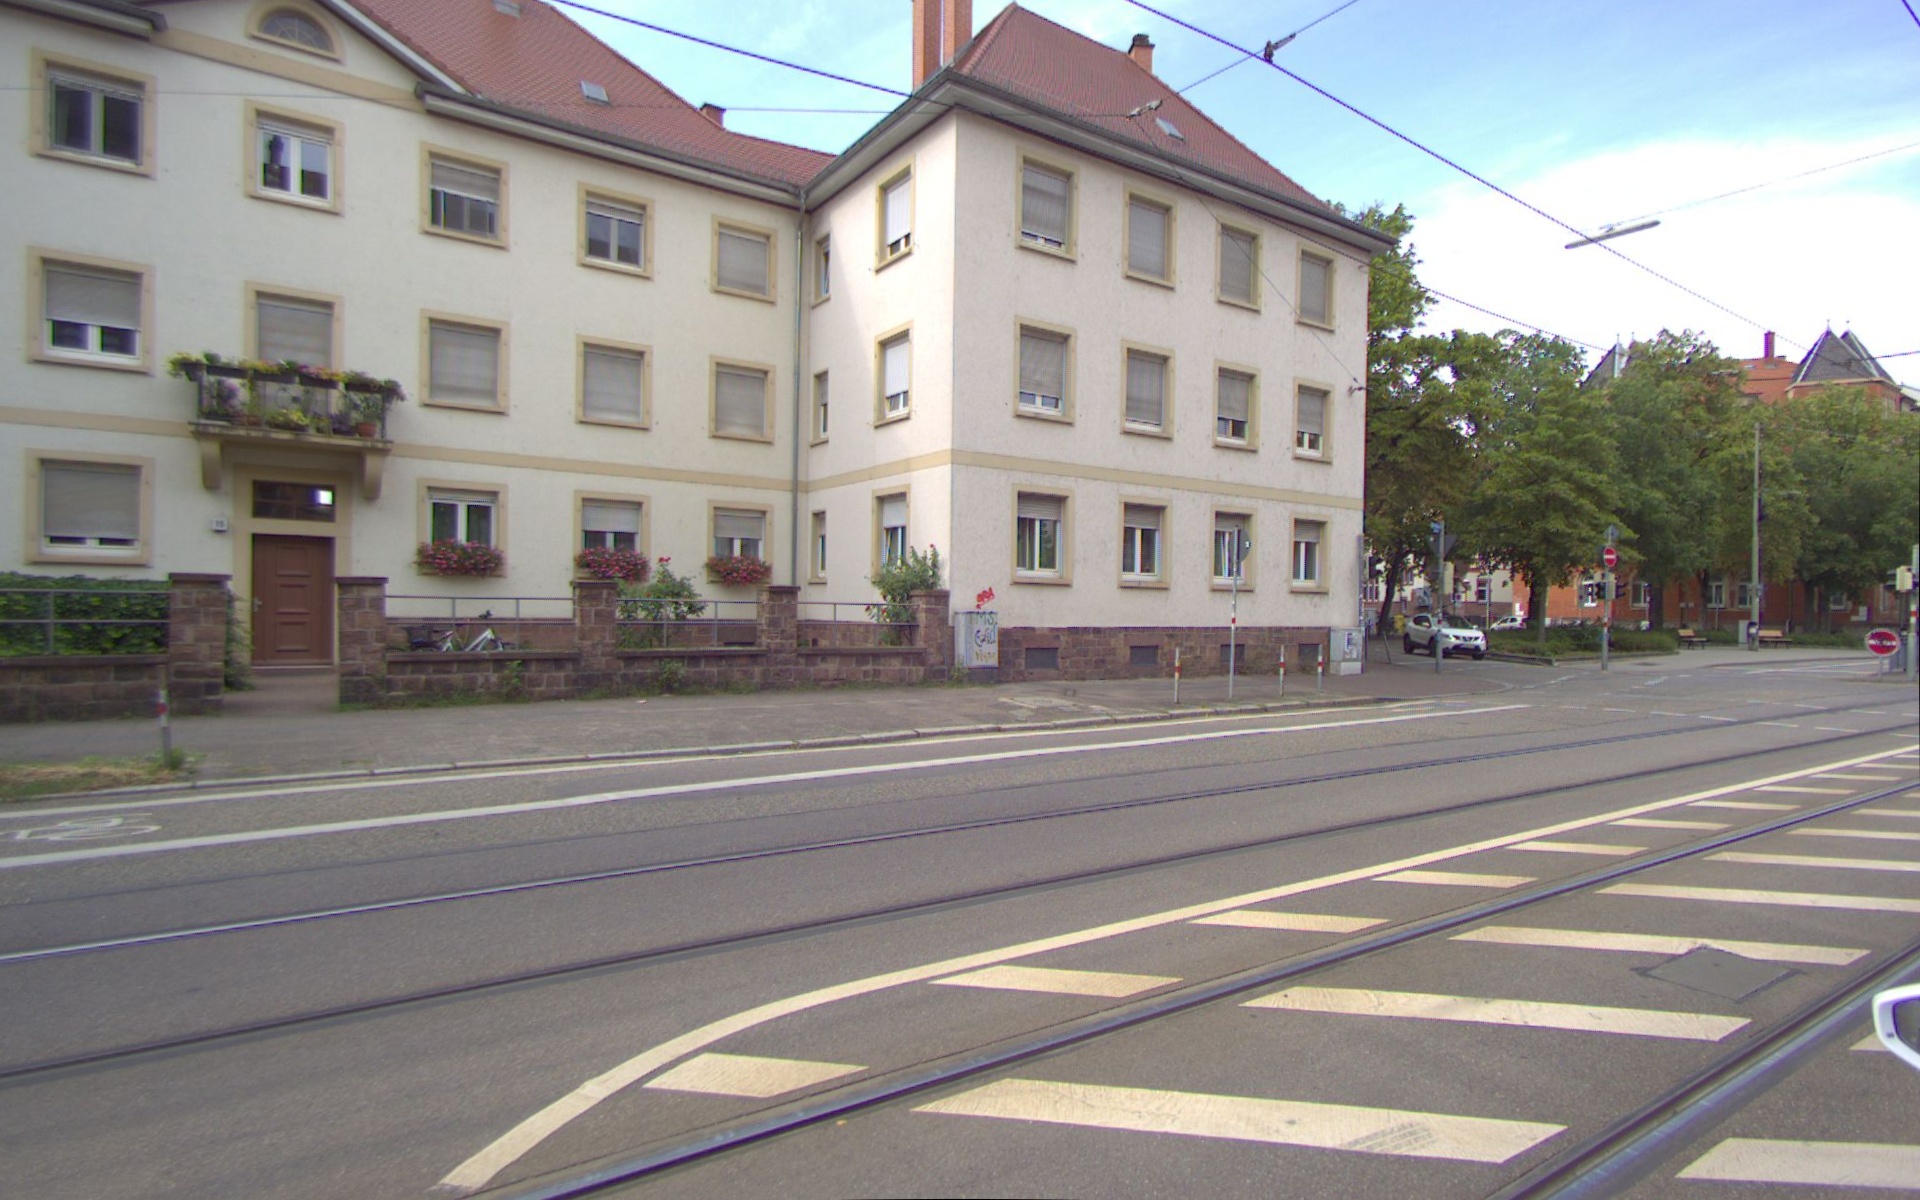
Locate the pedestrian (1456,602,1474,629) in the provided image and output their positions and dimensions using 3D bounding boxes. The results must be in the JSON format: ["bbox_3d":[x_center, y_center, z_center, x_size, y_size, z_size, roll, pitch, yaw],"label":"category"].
[{"bbox_3d":[33.200,1.009,66.009,0.720,1.777,0.751,1,0,-15],"label":"pedestrian"}]

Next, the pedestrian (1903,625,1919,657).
[{"bbox_3d":[52.225,2.244,54.935,0.726,1.725,0.826,1,0,-39],"label":"pedestrian"}]

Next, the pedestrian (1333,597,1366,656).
[{"bbox_3d":[12.761,0.860,32.899,0.822,1.926,0.730,0,0,36],"label":"pedestrian"}]

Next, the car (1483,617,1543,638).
[{"bbox_3d":[41.300,2.022,75.115,1.783,1.497,3.992,1,-1,-10],"label":"car"}]

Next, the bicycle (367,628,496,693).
[{"bbox_3d":[-7.867,0.879,14.978,1.654,0.927,0.475,1,0,-34],"label":"bicycle"}]

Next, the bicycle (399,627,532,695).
[{"bbox_3d":[-7.056,0.849,14.363,1.654,0.927,0.475,1,0,-34],"label":"bicycle"}]

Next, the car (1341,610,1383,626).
[{"bbox_3d":[37.395,1.670,93.440,1.783,1.414,3.992,1,-1,-10],"label":"car"}]

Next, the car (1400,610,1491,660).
[{"bbox_3d":[18.296,1.349,38.073,1.804,1.743,4.163,2,-2,6],"label":"car"}]

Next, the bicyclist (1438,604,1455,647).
[{"bbox_3d":[20.681,1.069,42.709,0.601,1.799,0.909,0,0,29],"label":"bicyclist"}]
